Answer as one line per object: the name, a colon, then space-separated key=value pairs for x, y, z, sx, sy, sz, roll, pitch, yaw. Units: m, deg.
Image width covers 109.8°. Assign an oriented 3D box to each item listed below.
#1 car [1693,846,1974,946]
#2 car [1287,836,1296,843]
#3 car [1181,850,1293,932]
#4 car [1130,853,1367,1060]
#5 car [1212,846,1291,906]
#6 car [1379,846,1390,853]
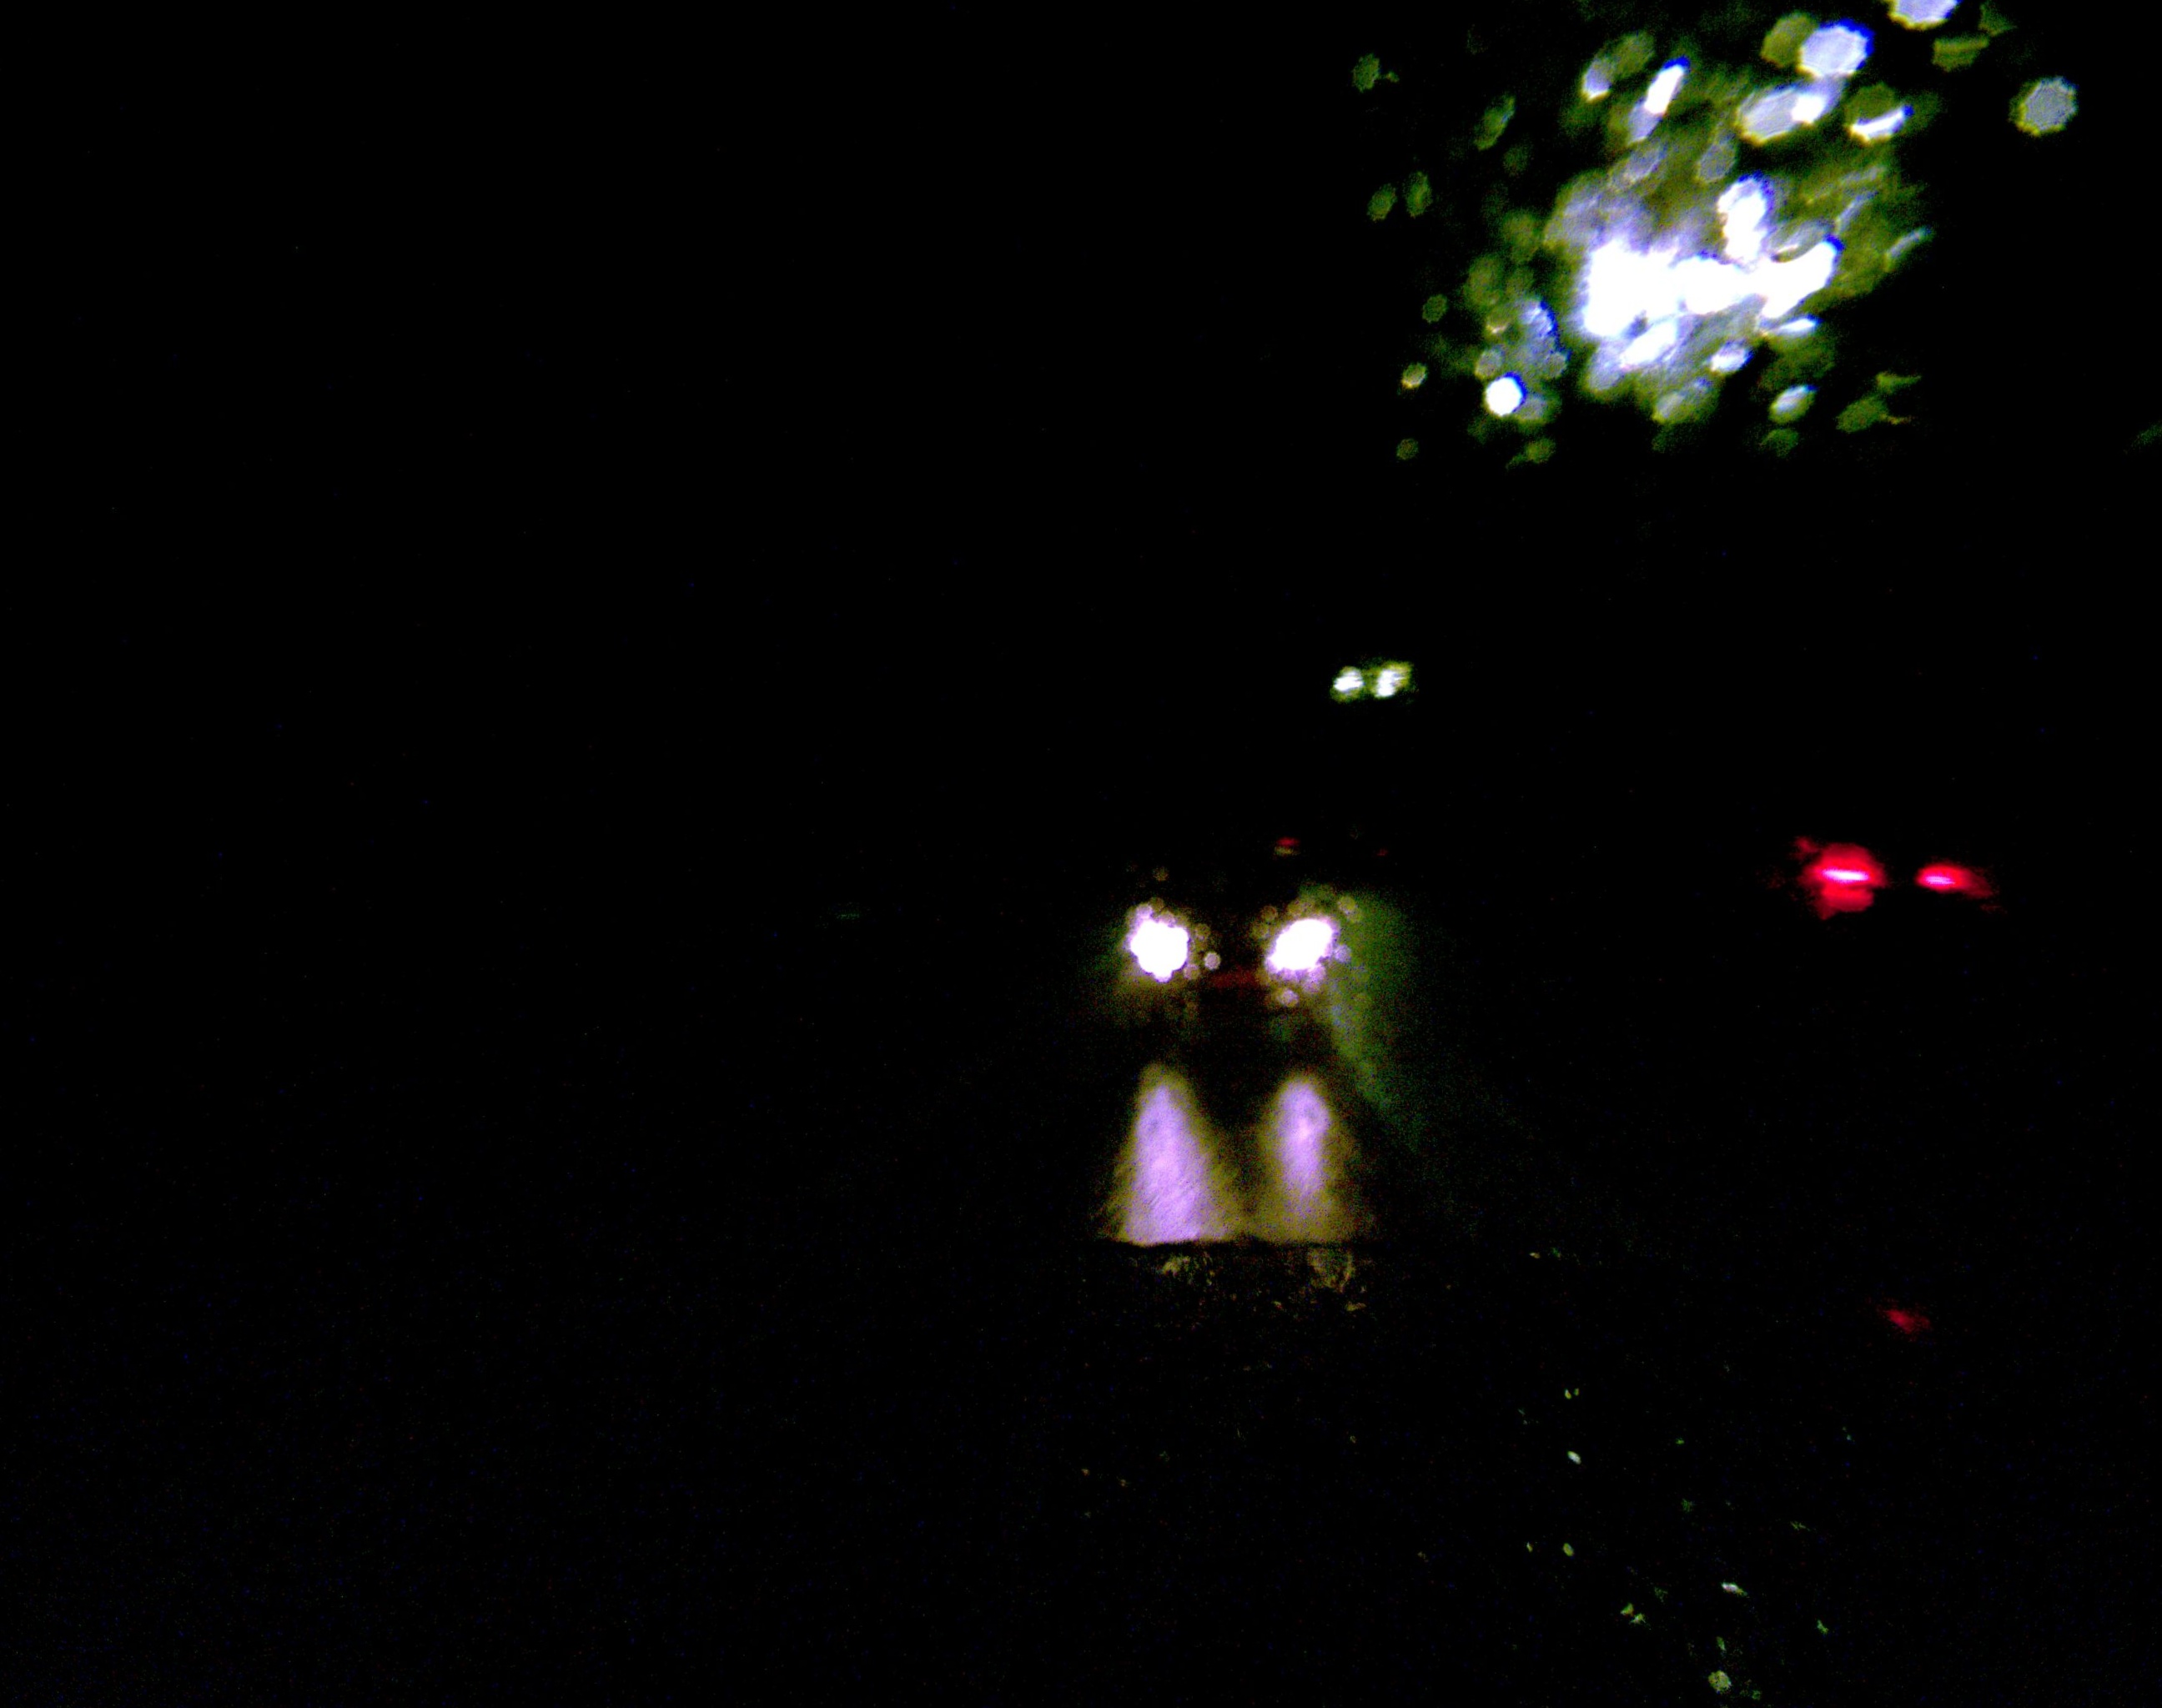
car: x=13.466 y=0.646 z=13.995 sx=1.754 sy=1.543 sz=4.013 roll=0 pitch=1 yaw=12
car: x=51.255 y=-3.553 z=185.258 sx=1.786 sy=1.638 sz=4.003 roll=-1 pitch=1 yaw=12
car: x=3.283 y=0.659 z=15.919 sx=1.996 sy=1.455 sz=4.003 roll=0 pitch=1 yaw=12
car: x=1.694 y=0.784 z=7.823 sx=1.763 sy=1.492 sz=4.003 roll=-1 pitch=1 yaw=12
car: x=4.838 y=0.542 z=21.652 sx=1.996 sy=1.531 sz=4.003 roll=0 pitch=1 yaw=12
car: x=67.030 y=-0.983 z=167.740 sx=1.864 sy=1.638 sz=4.004 roll=-1 pitch=1 yaw=15
